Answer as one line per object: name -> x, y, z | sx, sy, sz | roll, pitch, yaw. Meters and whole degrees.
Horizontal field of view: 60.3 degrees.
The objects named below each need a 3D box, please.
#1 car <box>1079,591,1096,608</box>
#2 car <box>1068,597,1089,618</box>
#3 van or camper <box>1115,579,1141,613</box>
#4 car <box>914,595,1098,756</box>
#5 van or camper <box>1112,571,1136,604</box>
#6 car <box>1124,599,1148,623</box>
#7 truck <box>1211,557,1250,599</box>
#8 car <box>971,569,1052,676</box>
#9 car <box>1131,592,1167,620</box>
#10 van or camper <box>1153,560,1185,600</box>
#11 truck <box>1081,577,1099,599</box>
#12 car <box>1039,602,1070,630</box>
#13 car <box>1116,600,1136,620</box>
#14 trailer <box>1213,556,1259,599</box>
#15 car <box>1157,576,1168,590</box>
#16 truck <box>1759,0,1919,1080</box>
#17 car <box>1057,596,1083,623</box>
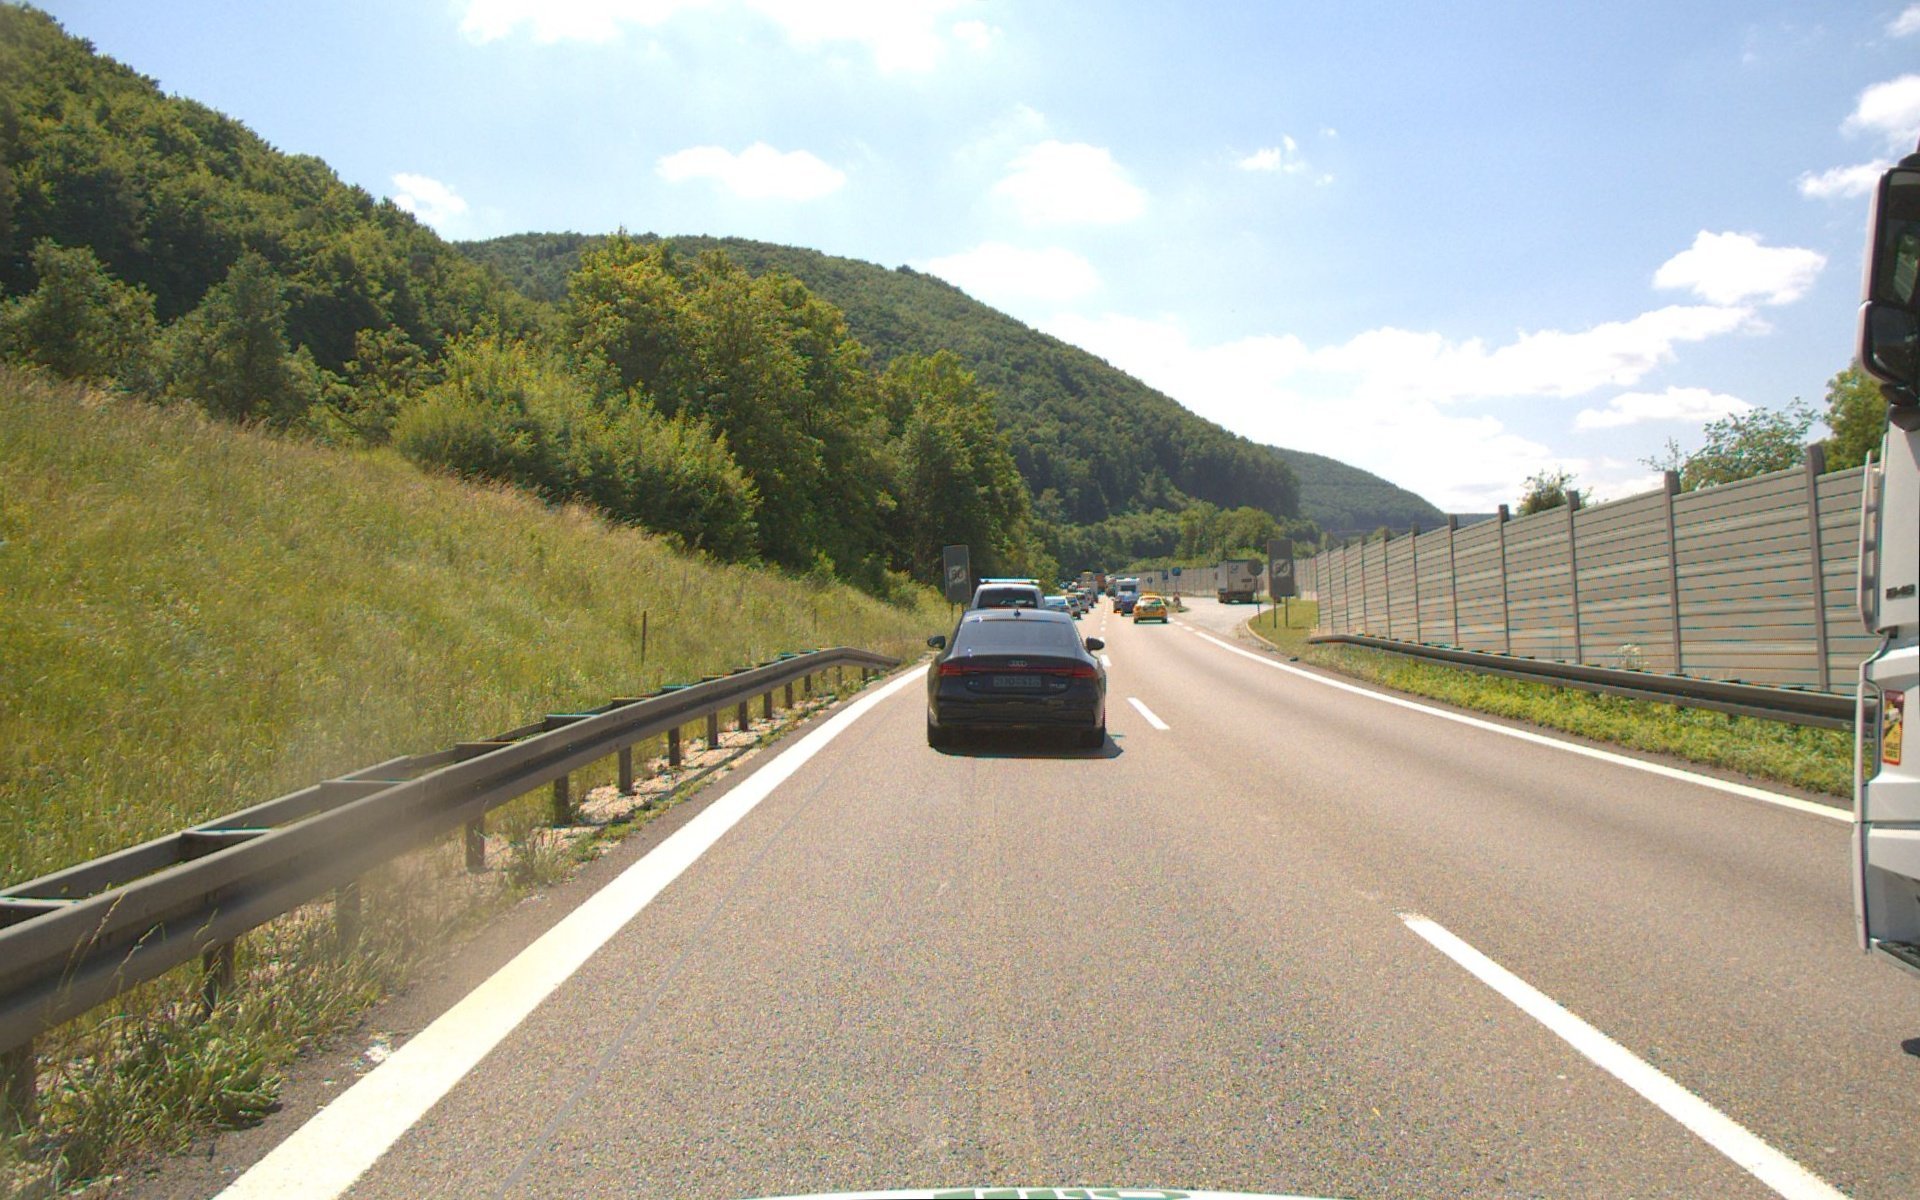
car -> 12.929, -0.047, 167.728 | 1.489, 1.580, 3.517 | 2, 0, 7
car -> 9.502, 0.583, 132.152 | 1.489, 1.580, 3.517 | 2, 0, 7
van or camper -> 16.089, -0.359, 158.452 | 2.378, 3.210, 5.206 | 1, -1, 5
car -> 0.558, 0.732, 17.840 | 1.774, 1.541, 3.516 | 0, 0, 4
van or camper -> 20.296, -1.518, 204.943 | 2.736, 3.975, 6.169 | 1, -1, 3
car -> 11.693, 0.740, 110.027 | 1.497, 1.552, 3.599 | 1, -1, 5
truck -> 26.672, -2.155, 163.364 | 3.339, 3.968, 5.391 | 0, 0, 5
car -> 1.023, 0.429, 33.570 | 1.490, 2.002, 3.514 | 2, 0, 1
car -> 10.272, 0.315, 90.035 | 1.839, 1.525, 4.003 | 0, 0, 5
van or camper -> 21.118, -2.001, 167.404 | 2.736, 3.909, 6.169 | 1, -1, 3
truck -> 16.728, -1.526, 212.462 | 2.021, 2.651, 5.618 | 2, 0, 7
car -> 4.603, 0.777, 80.874 | 1.489, 1.317, 3.515 | 1, 0, 3
car -> 13.095, 0.805, 130.813 | 1.497, 1.552, 3.599 | 1, -1, 5
trailer -> 26.194, -2.121, 157.472 | 3.339, 3.968, 11.158 | 0, 0, 5
car -> 30.174, -2.587, 246.278 | 1.543, 2.049, 3.430 | -1, 0, 5
truck -> 4.484, -0.558, 3.412 | 2.665, 4.139, 5.750 | 0, -1, -3
car -> 6.949, 0.601, 104.553 | 1.489, 1.580, 3.516 | 2, 0, 6
